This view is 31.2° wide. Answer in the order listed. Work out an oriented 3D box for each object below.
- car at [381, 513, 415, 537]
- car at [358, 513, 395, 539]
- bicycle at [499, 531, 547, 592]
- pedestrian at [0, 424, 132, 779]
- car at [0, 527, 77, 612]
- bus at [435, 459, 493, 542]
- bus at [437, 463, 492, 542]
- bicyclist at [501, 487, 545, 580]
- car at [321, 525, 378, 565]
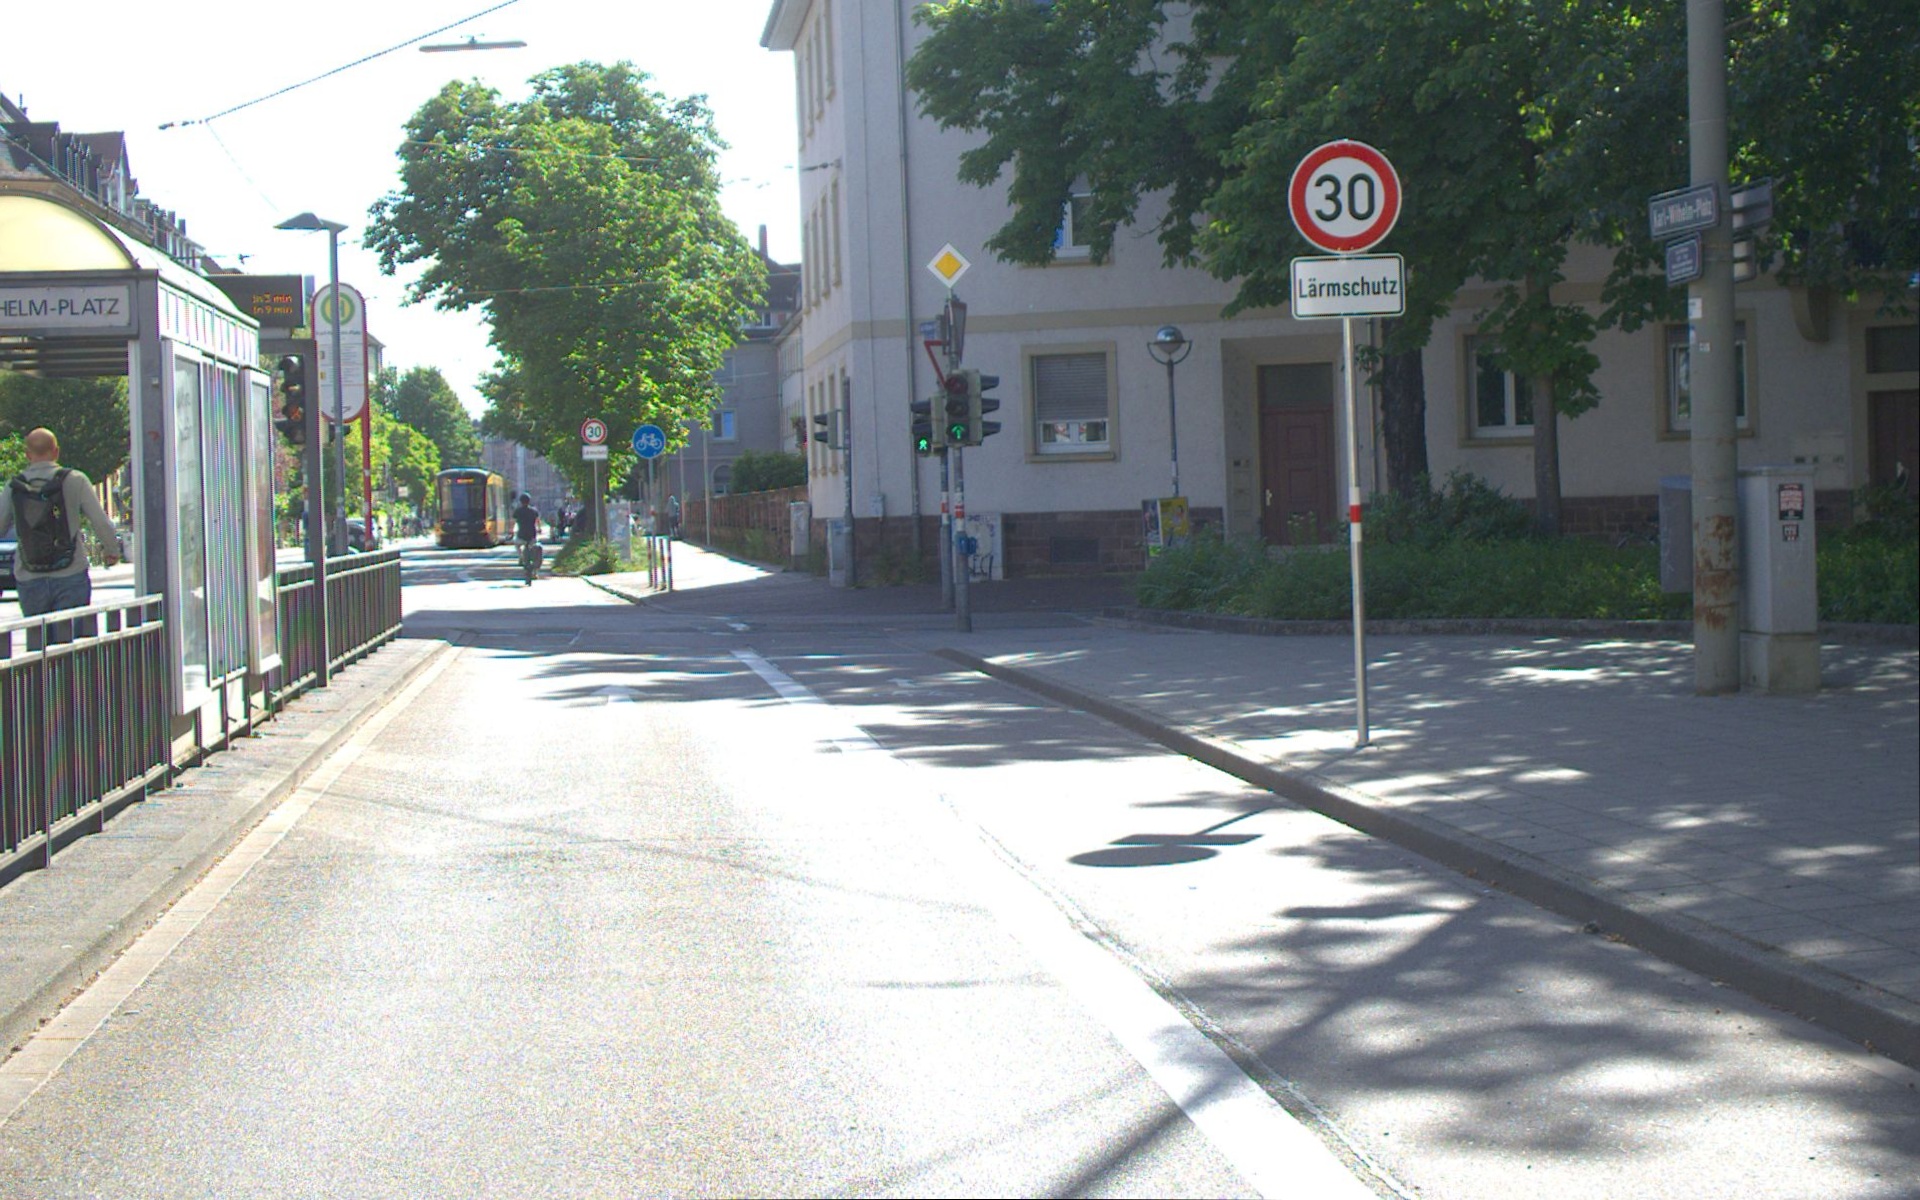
[{"bbox_3d":[-38.011,-5.078,232.635,1.993,1.590,4.001,-1,1,-6],"label":"car"},{"bbox_3d":[-35.785,-4.528,210.827,1.993,1.590,4.001,-1,1,-6],"label":"car"},{"bbox_3d":[-8.541,-0.755,67.264,0.841,1.152,2.539,-1,1,-6],"label":"bicycle"},{"bbox_3d":[-5.262,0.001,19.887,0.795,2.007,0.740,-1,1,-5],"label":"pedestrian"},{"bbox_3d":[-18.579,-0.615,67.721,1.775,1.612,4.001,-1,1,-7],"label":"car"},{"bbox_3d":[-21.527,-4.268,149.179,2.385,3.484,7.386,-1,1,-8],"label":"bus"},{"bbox_3d":[-22.567,-4.383,156.497,2.385,3.484,7.386,-1,1,-8],"label":"bus"},{"bbox_3d":[-8.543,-1.296,67.242,0.817,1.805,1.059,-1,1,-6],"label":"bicyclist"},{"bbox_3d":[-24.452,-2.203,137.731,1.993,1.590,4.001,-1,1,-6],"label":"car"}]
